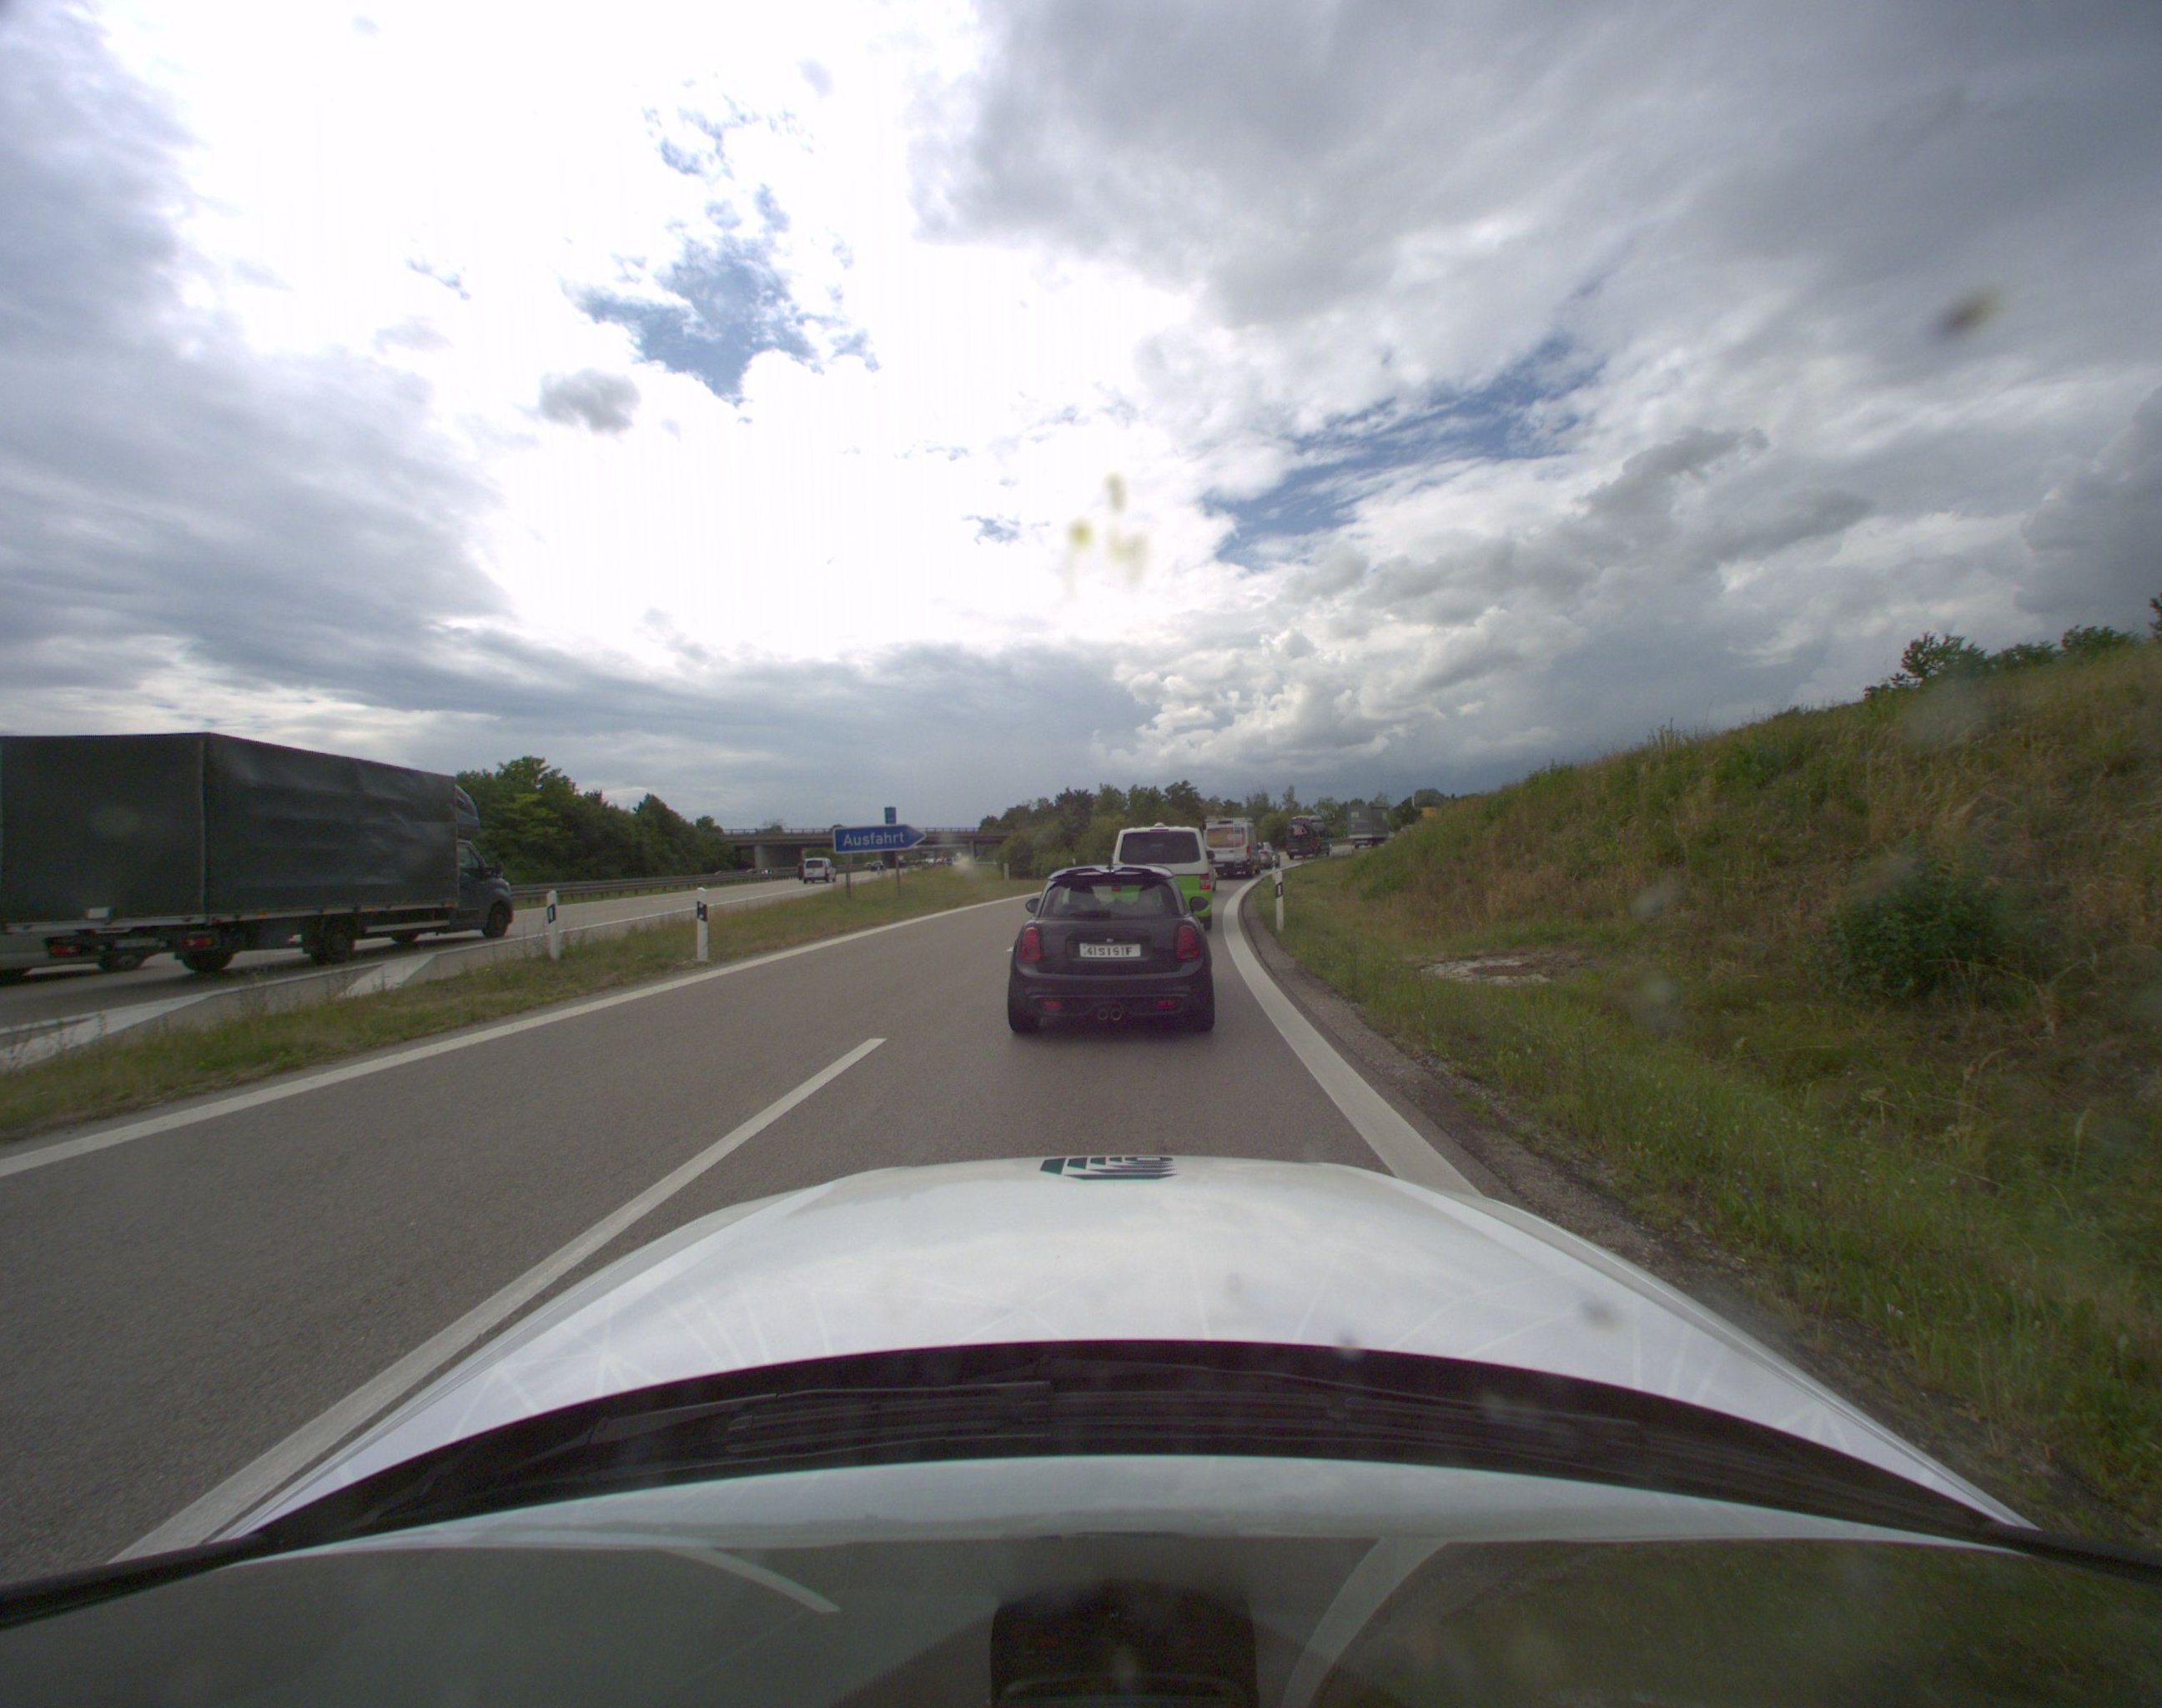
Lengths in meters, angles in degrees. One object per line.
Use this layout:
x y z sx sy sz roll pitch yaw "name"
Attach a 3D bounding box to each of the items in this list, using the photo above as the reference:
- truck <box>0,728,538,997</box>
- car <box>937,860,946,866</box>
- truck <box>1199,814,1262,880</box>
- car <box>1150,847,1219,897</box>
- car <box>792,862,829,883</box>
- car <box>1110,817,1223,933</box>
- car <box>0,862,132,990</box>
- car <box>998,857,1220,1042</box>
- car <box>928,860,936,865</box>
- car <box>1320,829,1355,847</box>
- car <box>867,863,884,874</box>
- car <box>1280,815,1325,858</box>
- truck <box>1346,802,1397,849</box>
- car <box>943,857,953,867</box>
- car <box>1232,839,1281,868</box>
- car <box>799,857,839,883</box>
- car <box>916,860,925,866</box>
-13.130 0.132 14.365 2.465 3.371 7.905 -2 -1 -6 "truck"
-34.693 2.206 202.080 1.777 1.399 4.541 -2 0 -6 "car"
6.728 -0.340 36.191 2.162 2.658 5.131 -2 1 16 "truck"
3.334 0.527 25.730 1.750 1.399 3.738 -2 0 13 "car"
-24.424 1.653 73.738 1.992 1.785 5.399 -2 0 -7 "car"
1.835 0.364 16.291 1.772 2.013 4.014 -1 0 12 "car"
-16.352 1.070 11.235 1.992 1.810 3.990 -2 0 -7 "car"
0.358 0.765 8.270 1.719 1.413 3.729 -1 0 4 "car"
-41.446 2.430 226.626 1.779 1.399 4.294 -2 0 -8 "car"
24.129 -1.493 76.581 1.778 1.556 3.986 -2 -1 38 "car"
-29.415 2.024 116.949 1.720 1.424 4.785 -2 0 -7 "car"
15.153 -1.186 55.493 2.085 2.796 4.024 -1 0 28 "car"
25.296 -2.390 70.802 2.207 3.907 6.054 -1 -1 39 "truck"
-27.191 1.689 166.303 1.993 2.014 3.988 0 -1 -9 "car"
9.703 -0.035 44.704 1.849 1.510 4.022 -2 0 23 "car"
-19.134 1.161 59.682 1.874 1.751 4.477 -2 0 -6 "car"
-38.235 2.181 193.794 1.777 1.399 4.297 -2 0 -6 "car"
